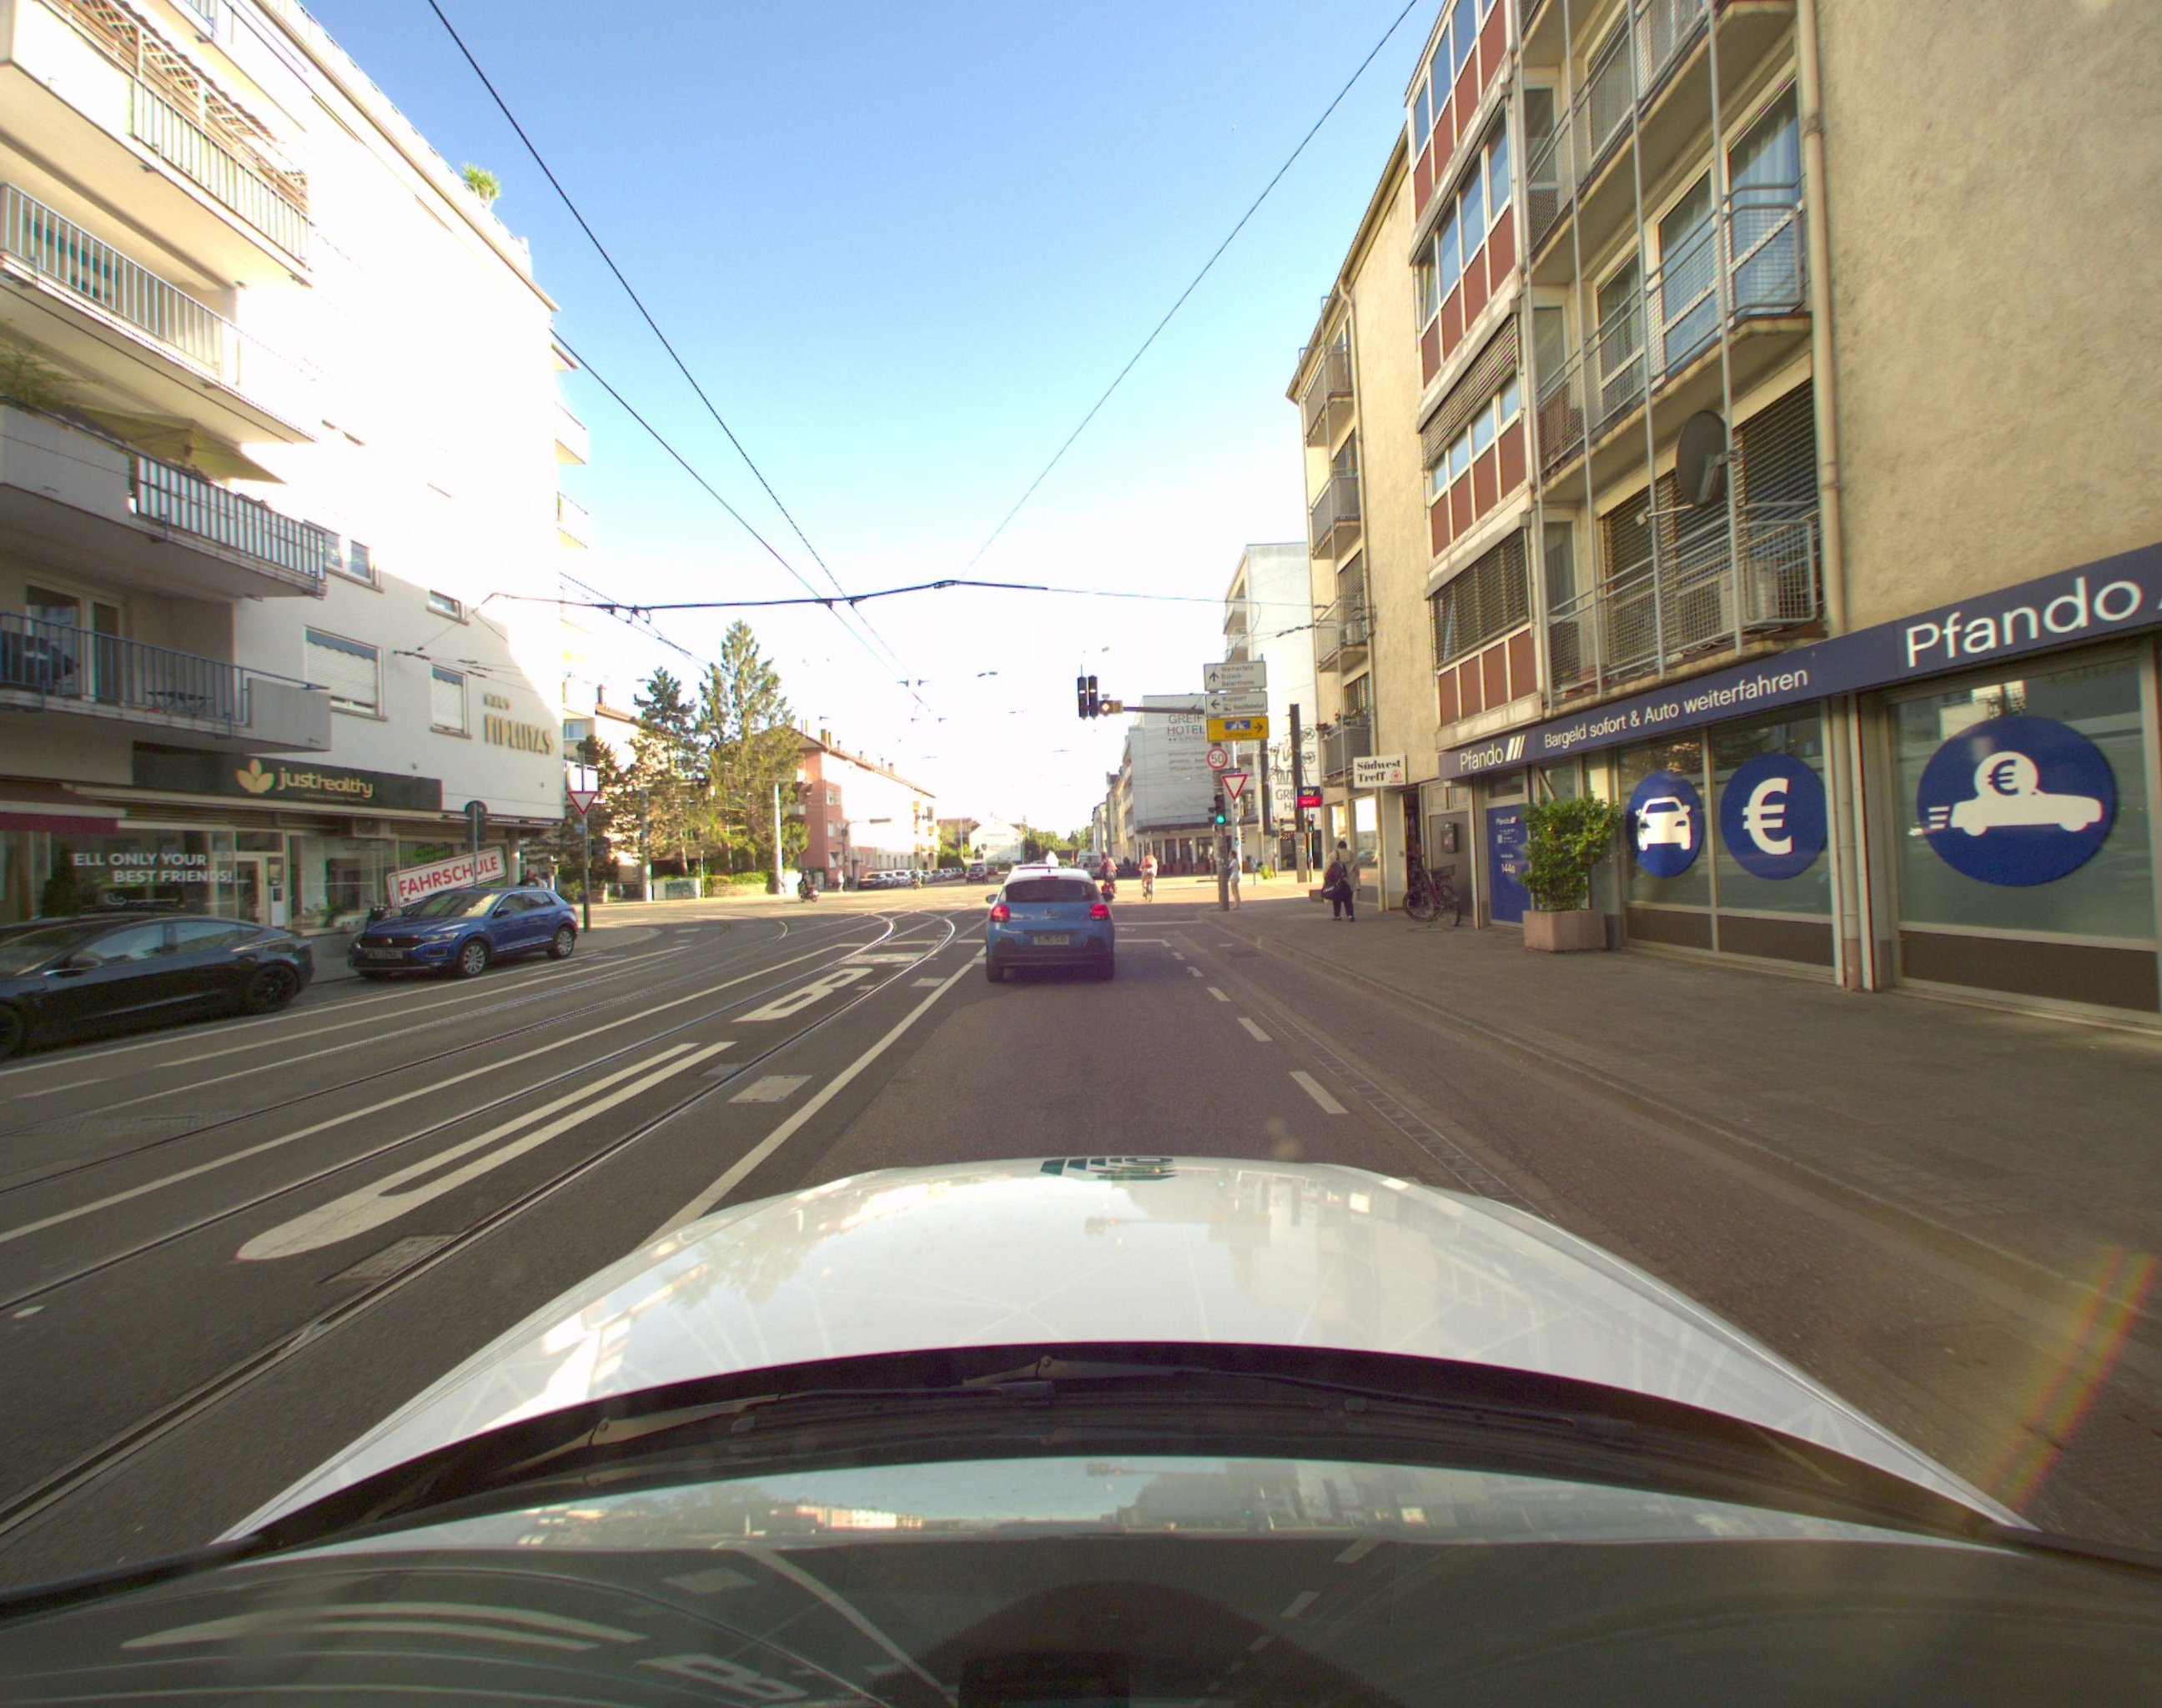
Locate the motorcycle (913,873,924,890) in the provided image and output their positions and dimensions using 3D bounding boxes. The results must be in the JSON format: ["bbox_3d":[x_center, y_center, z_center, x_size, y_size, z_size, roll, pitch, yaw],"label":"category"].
[{"bbox_3d":[-11.666,1.992,58.553,0.712,1.220,1.957,-2,-2,-11],"label":"motorcycle"}]

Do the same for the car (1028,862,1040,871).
[{"bbox_3d":[-9.773,2.597,169.635,2.211,1.932,4.948,0,-1,0],"label":"car"}]

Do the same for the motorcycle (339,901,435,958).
[{"bbox_3d":[-15.381,1.649,18.113,0.605,1.134,1.796,0,-1,0],"label":"motorcycle"}]

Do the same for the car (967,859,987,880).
[{"bbox_3d":[-15.355,2.270,120.183,2.410,3.142,3.488,0,-1,0],"label":"car"}]

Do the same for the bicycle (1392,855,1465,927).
[{"bbox_3d":[6.068,0.625,14.321,0.494,1.161,1.777,-2,-1,0],"label":"bicycle"}]

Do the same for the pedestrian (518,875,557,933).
[{"bbox_3d":[-17.419,1.590,26.126,0.731,1.792,0.663,-2,0,6],"label":"pedestrian"}]

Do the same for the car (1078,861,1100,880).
[{"bbox_3d":[0.630,1.346,66.678,1.654,1.431,3.884,0,-1,-3],"label":"car"}]

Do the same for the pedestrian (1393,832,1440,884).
[{"bbox_3d":[7.347,0.083,17.828,0.627,1.087,0.672,-3,0,-34],"label":"pedestrian"}]

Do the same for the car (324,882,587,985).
[{"bbox_3d":[-11.453,1.363,15.366,1.764,1.503,4.234,0,0,-2],"label":"car"}]

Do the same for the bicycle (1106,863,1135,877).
[{"bbox_3d":[3.194,1.284,65.996,2.245,1.001,0.856,-4,-1,-2],"label":"bicycle"}]

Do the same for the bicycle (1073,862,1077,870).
[{"bbox_3d":[-1.310,2.552,176.080,0.787,1.670,2.232,-1,-1,5],"label":"bicycle"}]

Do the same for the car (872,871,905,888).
[{"bbox_3d":[-17.549,2.287,74.344,1.896,1.436,4.103,0,-1,1],"label":"car"}]

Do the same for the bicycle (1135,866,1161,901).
[{"bbox_3d":[2.373,1.003,28.656,0.806,1.181,2.068,-1,-1,8],"label":"bicycle"}]

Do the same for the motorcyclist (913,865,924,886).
[{"bbox_3d":[-11.677,1.553,58.566,0.694,1.497,0.681,-2,-3,-12],"label":"motorcyclist"}]

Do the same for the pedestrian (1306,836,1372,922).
[{"bbox_3d":[5.090,0.480,16.098,0.883,1.592,0.809,-5,0,-5],"label":"pedestrian"}]

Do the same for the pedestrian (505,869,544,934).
[{"bbox_3d":[-16.705,1.425,24.463,0.568,1.900,0.742,-3,-3,18],"label":"pedestrian"}]

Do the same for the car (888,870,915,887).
[{"bbox_3d":[-17.422,2.378,79.227,1.736,1.526,4.229,0,-1,0],"label":"car"}]

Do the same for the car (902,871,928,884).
[{"bbox_3d":[-17.465,2.481,85.816,1.941,1.239,4.280,0,-1,-1],"label":"car"}]

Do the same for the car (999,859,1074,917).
[{"bbox_3d":[-1.369,0.910,23.543,1.784,1.522,3.750,0,0,-9],"label":"car"}]

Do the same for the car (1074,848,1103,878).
[{"bbox_3d":[0.619,0.785,71.776,2.259,2.482,5.004,-1,-1,-1],"label":"car"}]

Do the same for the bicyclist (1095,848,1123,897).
[{"bbox_3d":[0.979,0.642,28.602,0.937,1.673,1.080,0,-1,2],"label":"bicyclist"}]

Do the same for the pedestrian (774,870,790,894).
[{"bbox_3d":[-21.682,2.034,59.092,0.695,1.722,0.789,-1,-1,35],"label":"pedestrian"}]

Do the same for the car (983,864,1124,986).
[{"bbox_3d":[-0.548,0.907,11.978,1.735,1.452,3.653,-1,-1,-7],"label":"car"}]

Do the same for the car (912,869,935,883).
[{"bbox_3d":[-17.754,2.472,91.959,1.864,1.576,3.997,0,-1,-2],"label":"car"}]

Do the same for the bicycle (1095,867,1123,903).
[{"bbox_3d":[0.987,1.059,28.577,0.937,1.223,2.095,0,-1,2],"label":"bicycle"}]

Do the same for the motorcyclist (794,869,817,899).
[{"bbox_3d":[-14.004,1.517,41.410,0.721,1.488,0.862,-1,-1,19],"label":"motorcyclist"}]

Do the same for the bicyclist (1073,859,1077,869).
[{"bbox_3d":[-1.313,2.177,176.089,0.787,2.025,0.987,-1,-1,4],"label":"bicyclist"}]

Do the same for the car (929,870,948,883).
[{"bbox_3d":[-17.876,2.759,102.180,1.864,1.576,3.997,0,-1,-2],"label":"car"}]

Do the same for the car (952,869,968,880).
[{"bbox_3d":[-17.578,3.028,118.786,1.864,1.576,3.997,0,-1,-2],"label":"car"}]

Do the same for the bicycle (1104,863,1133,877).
[{"bbox_3d":[3.085,1.310,67.115,2.245,1.001,0.856,-4,-1,-2],"label":"bicycle"}]

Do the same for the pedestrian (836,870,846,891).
[{"bbox_3d":[-17.901,1.997,60.739,0.514,1.568,0.573,0,-1,0],"label":"pedestrian"}]

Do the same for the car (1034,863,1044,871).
[{"bbox_3d":[-9.561,2.955,187.113,2.067,1.763,5.036,0,-1,0],"label":"car"}]

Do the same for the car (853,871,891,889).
[{"bbox_3d":[-17.638,2.207,68.892,2.148,1.432,4.437,0,-3,-1],"label":"car"}]

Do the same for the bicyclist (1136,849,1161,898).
[{"bbox_3d":[2.383,0.672,28.744,0.806,1.692,0.937,-1,-1,8],"label":"bicyclist"}]

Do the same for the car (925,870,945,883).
[{"bbox_3d":[-17.547,2.689,98.018,1.864,1.576,3.997,0,-1,-2],"label":"car"}]

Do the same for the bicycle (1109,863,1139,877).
[{"bbox_3d":[3.389,1.270,64.616,2.245,1.001,0.856,-4,-1,-2],"label":"bicycle"}]

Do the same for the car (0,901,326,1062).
[{"bbox_3d":[-11.747,1.381,9.451,1.763,1.475,4.445,0,-1,1],"label":"car"}]

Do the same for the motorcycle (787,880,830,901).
[{"bbox_3d":[-13.815,1.843,41.338,1.920,1.047,0.862,-1,-1,18],"label":"motorcycle"}]

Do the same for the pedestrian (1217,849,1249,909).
[{"bbox_3d":[4.266,0.696,22.775,0.534,1.624,0.737,-7,-3,25],"label":"pedestrian"}]

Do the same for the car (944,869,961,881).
[{"bbox_3d":[-17.748,2.924,112.355,1.864,1.576,3.997,0,-1,-2],"label":"car"}]

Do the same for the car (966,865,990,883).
[{"bbox_3d":[-9.278,1.829,73.558,1.774,1.486,3.826,-3,-1,-2],"label":"car"}]

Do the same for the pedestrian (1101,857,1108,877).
[{"bbox_3d":[1.970,1.081,68.539,0.610,1.654,0.671,0,-1,2],"label":"pedestrian"}]
